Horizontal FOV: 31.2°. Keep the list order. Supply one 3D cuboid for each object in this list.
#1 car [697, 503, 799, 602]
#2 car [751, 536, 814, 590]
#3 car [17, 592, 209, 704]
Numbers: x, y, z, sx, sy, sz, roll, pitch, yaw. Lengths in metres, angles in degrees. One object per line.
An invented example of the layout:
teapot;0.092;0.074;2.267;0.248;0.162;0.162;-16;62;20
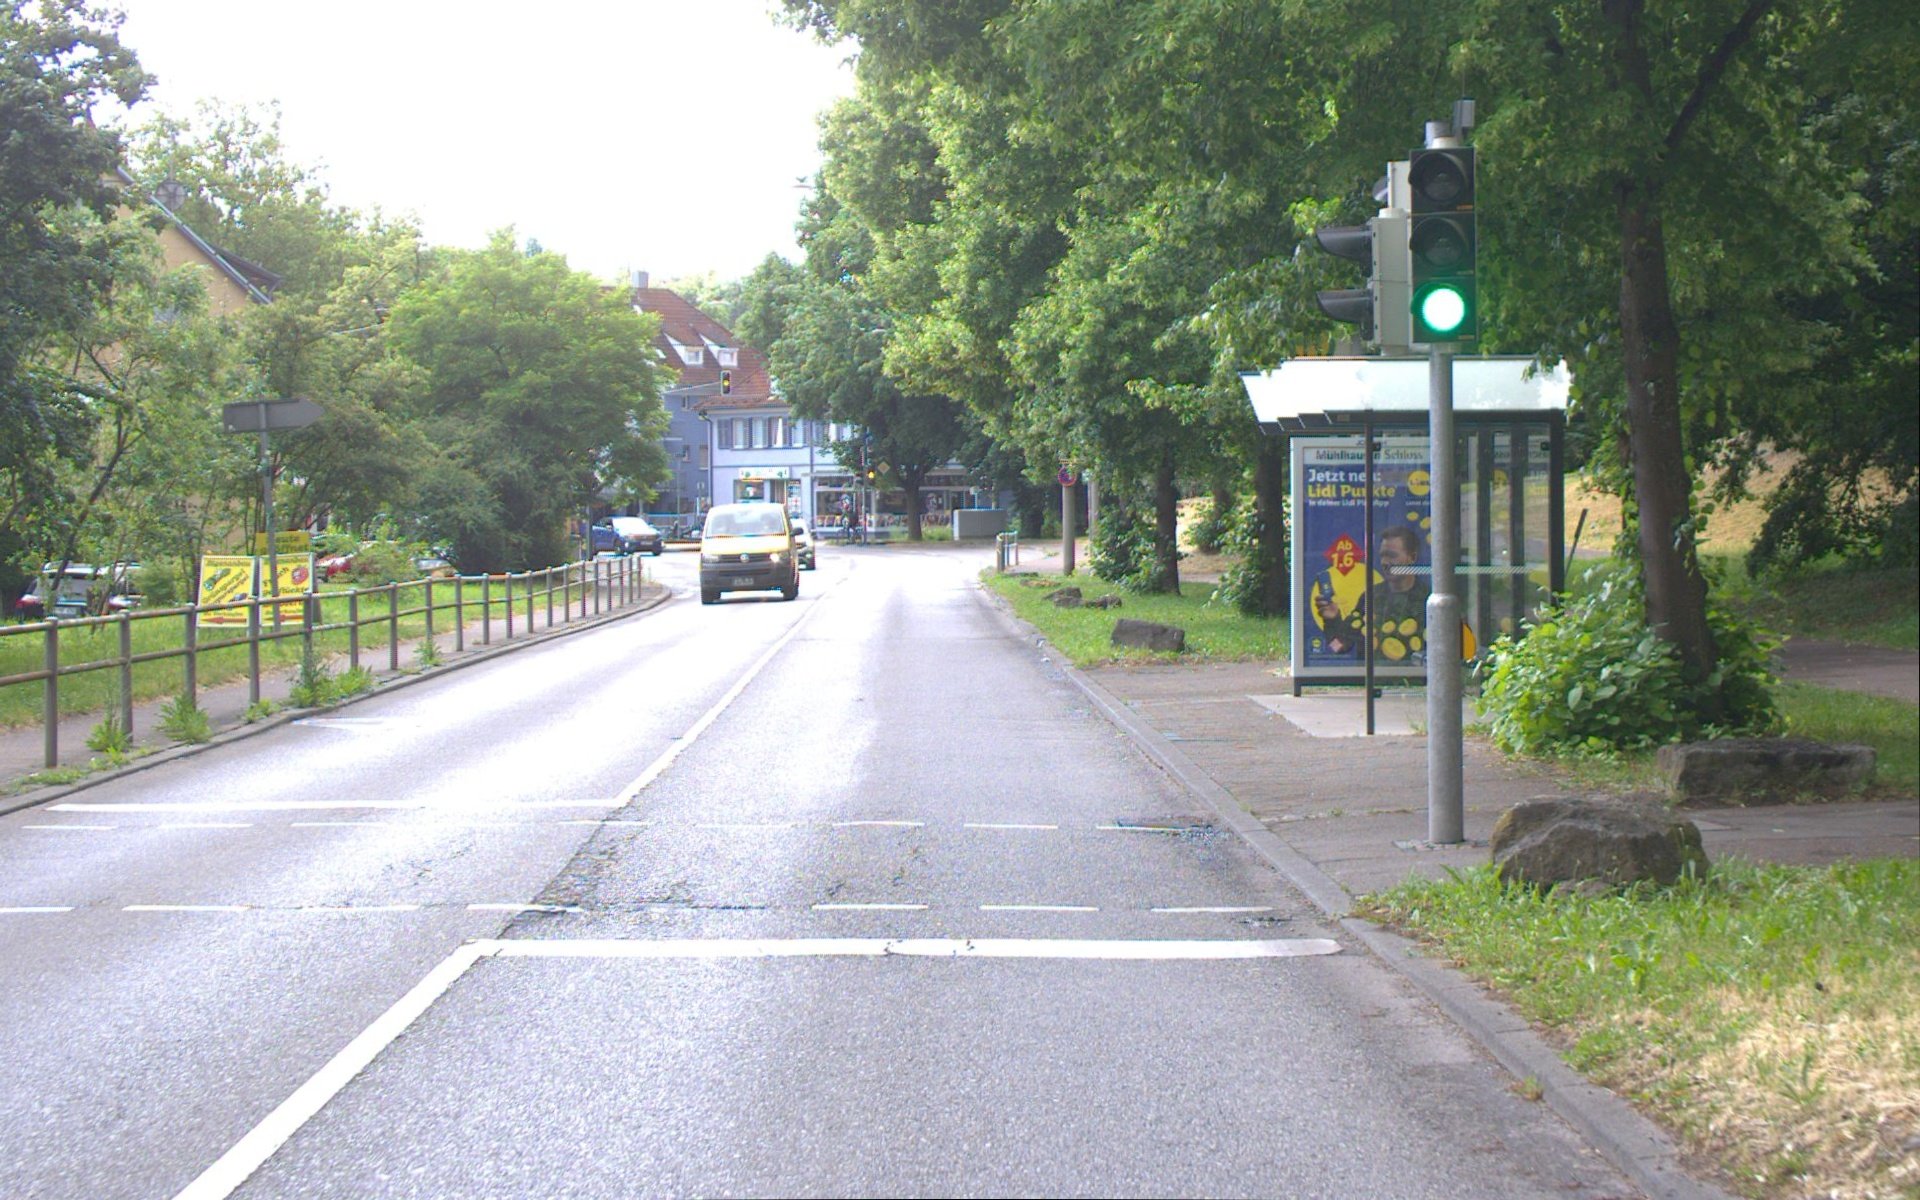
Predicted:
car;-4.283;-0.983;69.935;1.845;1.924;4.769;0;1;-1
car;-5.342;-1.131;103.845;1.704;1.506;4.000;-2;1;-1
car;-14.346;0.789;58.418;1.921;1.689;4.000;-2;1;5
